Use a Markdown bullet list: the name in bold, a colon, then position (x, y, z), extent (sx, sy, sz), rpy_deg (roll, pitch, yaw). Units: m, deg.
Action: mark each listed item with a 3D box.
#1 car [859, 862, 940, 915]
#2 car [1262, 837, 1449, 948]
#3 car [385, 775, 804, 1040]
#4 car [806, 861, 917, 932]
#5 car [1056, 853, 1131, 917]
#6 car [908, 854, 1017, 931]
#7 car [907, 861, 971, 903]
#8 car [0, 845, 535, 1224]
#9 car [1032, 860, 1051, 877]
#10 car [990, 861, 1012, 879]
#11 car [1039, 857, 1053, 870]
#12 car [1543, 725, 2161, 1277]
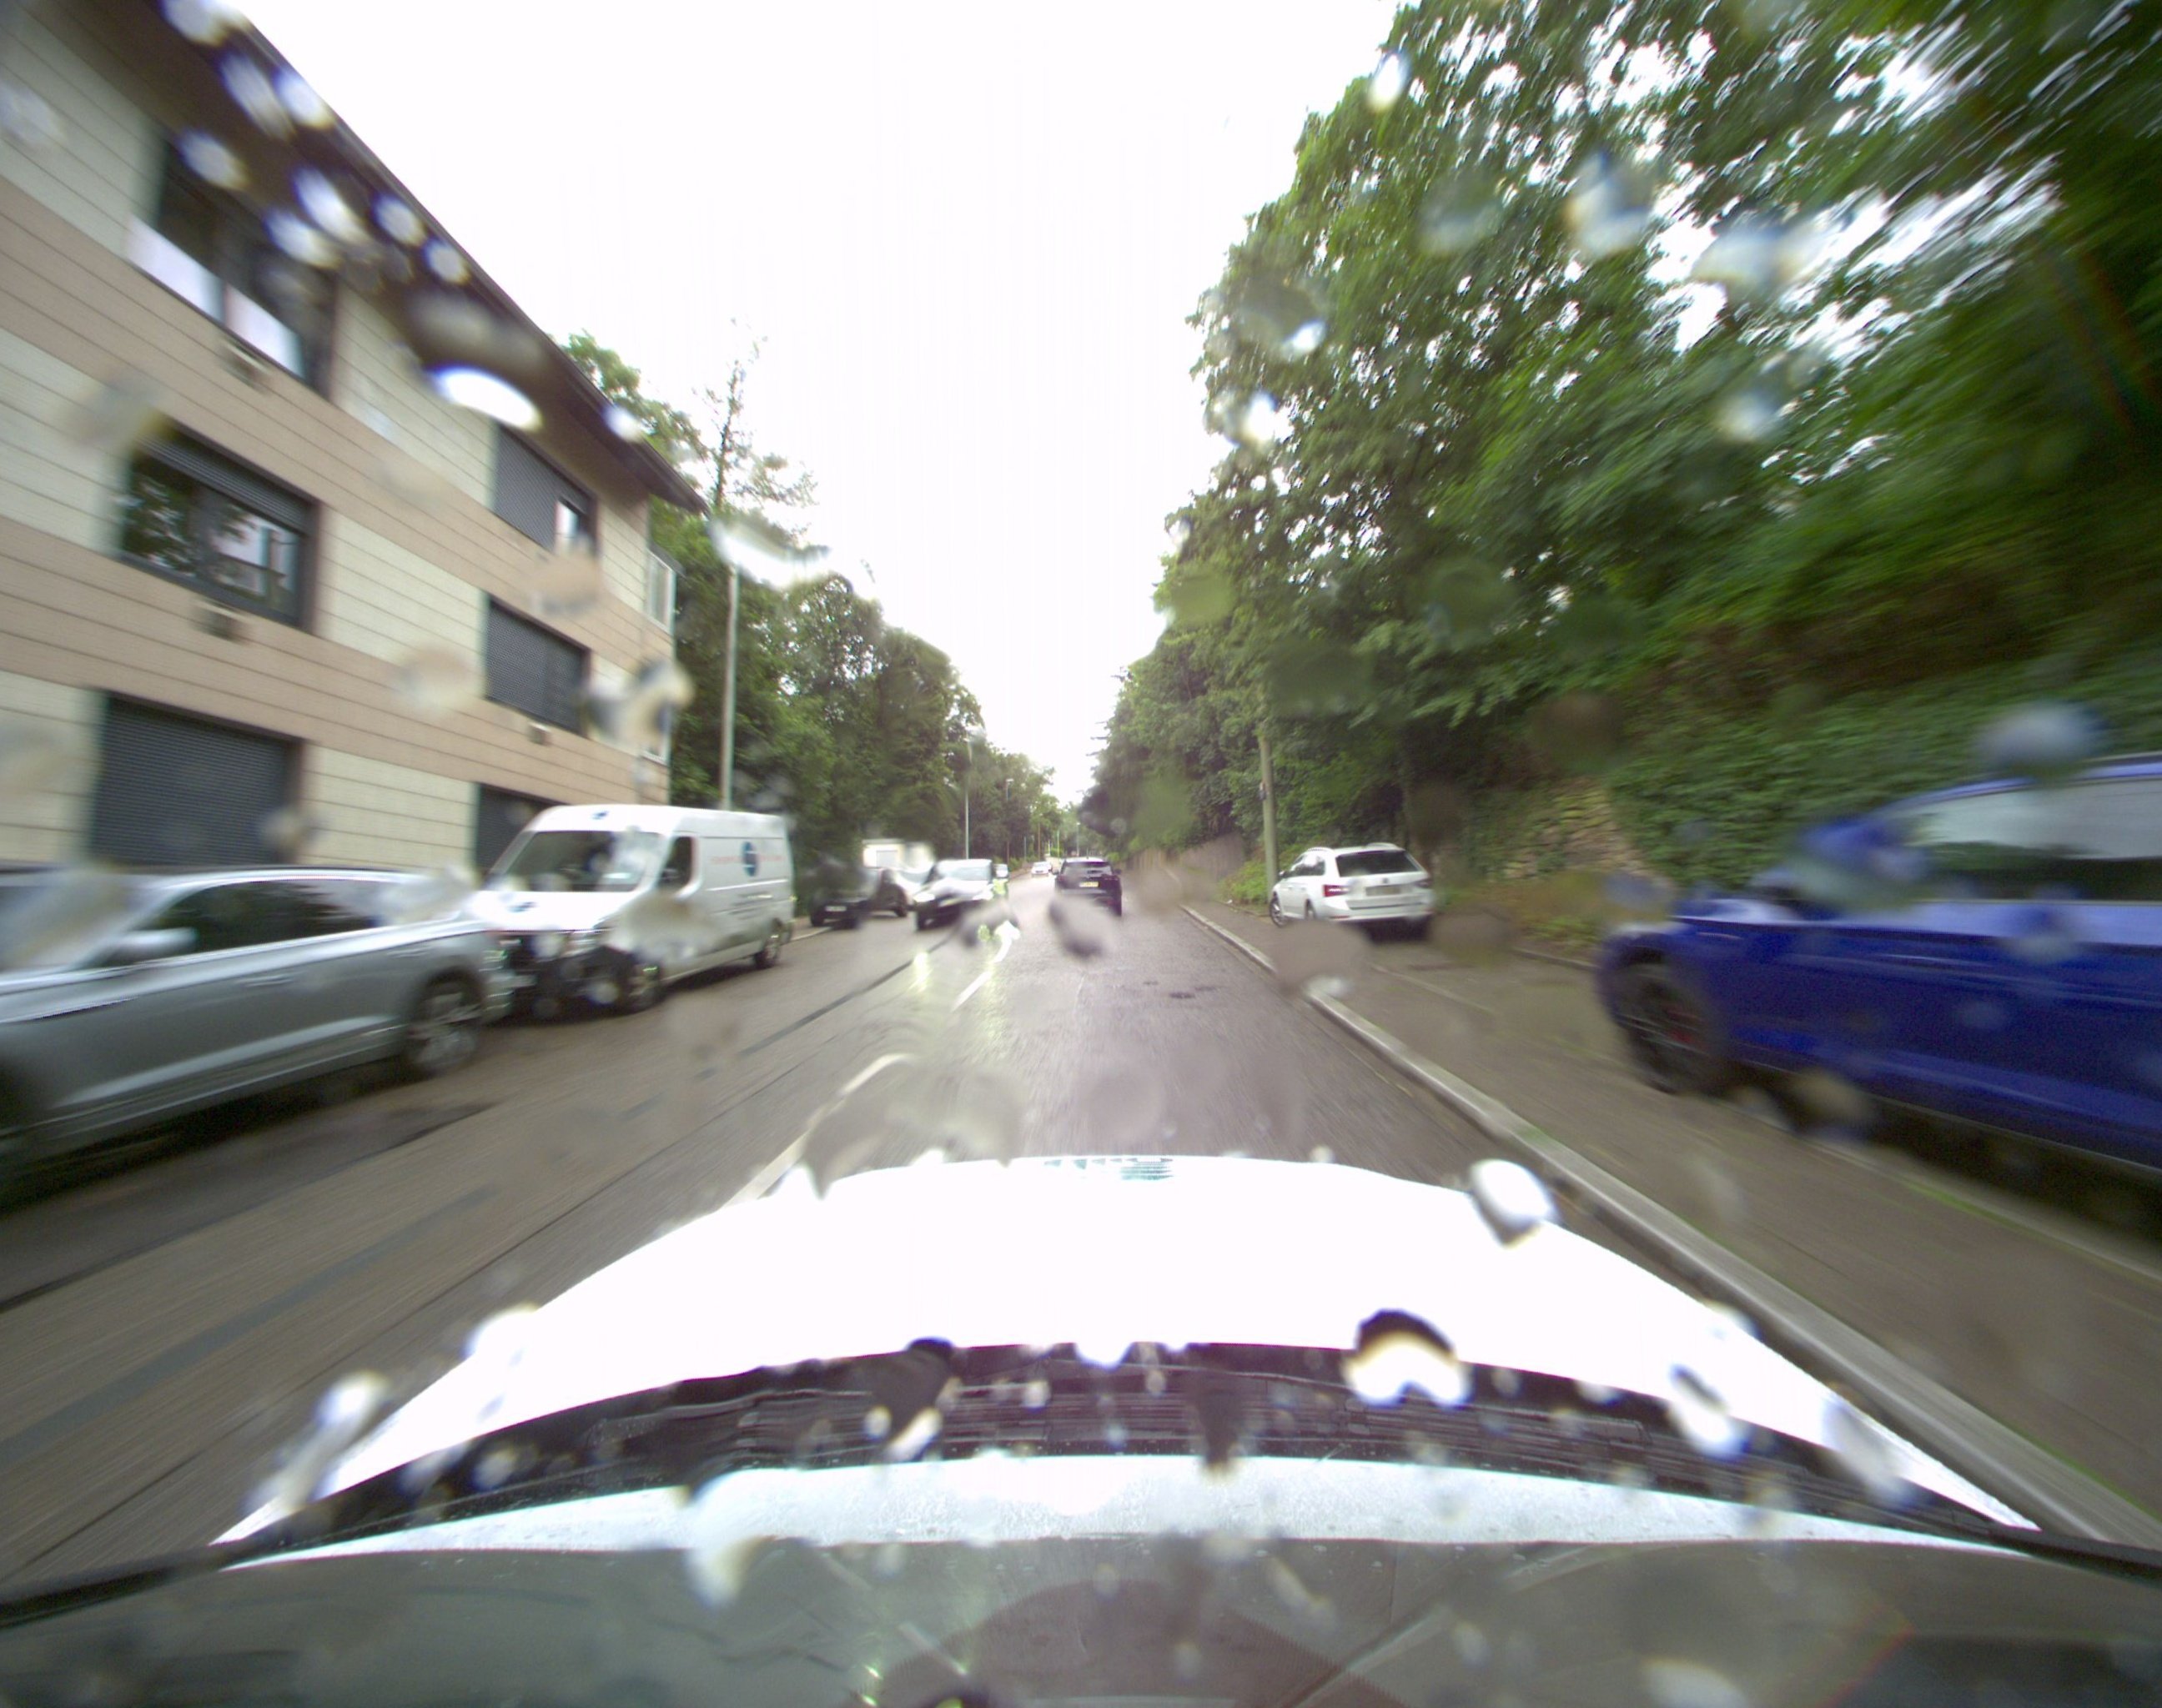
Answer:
- **car**: position (-6.215, 1.139, 28.293), extent (1.649, 1.569, 4.151), rpy_deg (-3, 0, 2)
- **car**: position (4.492, 0.557, 14.140), extent (1.732, 1.478, 4.743), rpy_deg (-4, 0, 3)
- **car**: position (-5.896, 0.550, 11.029), extent (2.109, 2.551, 5.445), rpy_deg (-4, 0, 1)
- **car**: position (-5.881, 1.070, 22.305), extent (1.638, 1.604, 4.188), rpy_deg (-5, 0, 2)
- **car**: position (0.283, 0.811, 23.234), extent (1.923, 1.613, 3.997), rpy_deg (-1, 0, -2)
- **car**: position (-2.817, 0.863, 20.387), extent (1.929, 1.625, 4.500), rpy_deg (-2, 0, 1)
- **car**: position (-6.015, 1.157, 35.021), extent (1.855, 1.493, 4.753), rpy_deg (-5, 0, -1)
- **car**: position (-5.979, 0.901, 4.911), extent (1.960, 1.739, 4.884), rpy_deg (-4, 0, 0)
- **car**: position (-3.976, 1.433, 81.824), extent (1.720, 1.435, 3.910), rpy_deg (-4, 0, -1)
- **car**: position (-6.560, 1.303, 67.289), extent (1.622, 1.499, 3.923), rpy_deg (0, 0, -3)
- **car**: position (-4.589, 1.244, 107.523), extent (1.756, 1.491, 3.997), rpy_deg (-3, 0, -2)
- **car**: position (4.049, 0.408, 3.232), extent (1.759, 1.623, 4.679), rpy_deg (-3, -1, 1)
